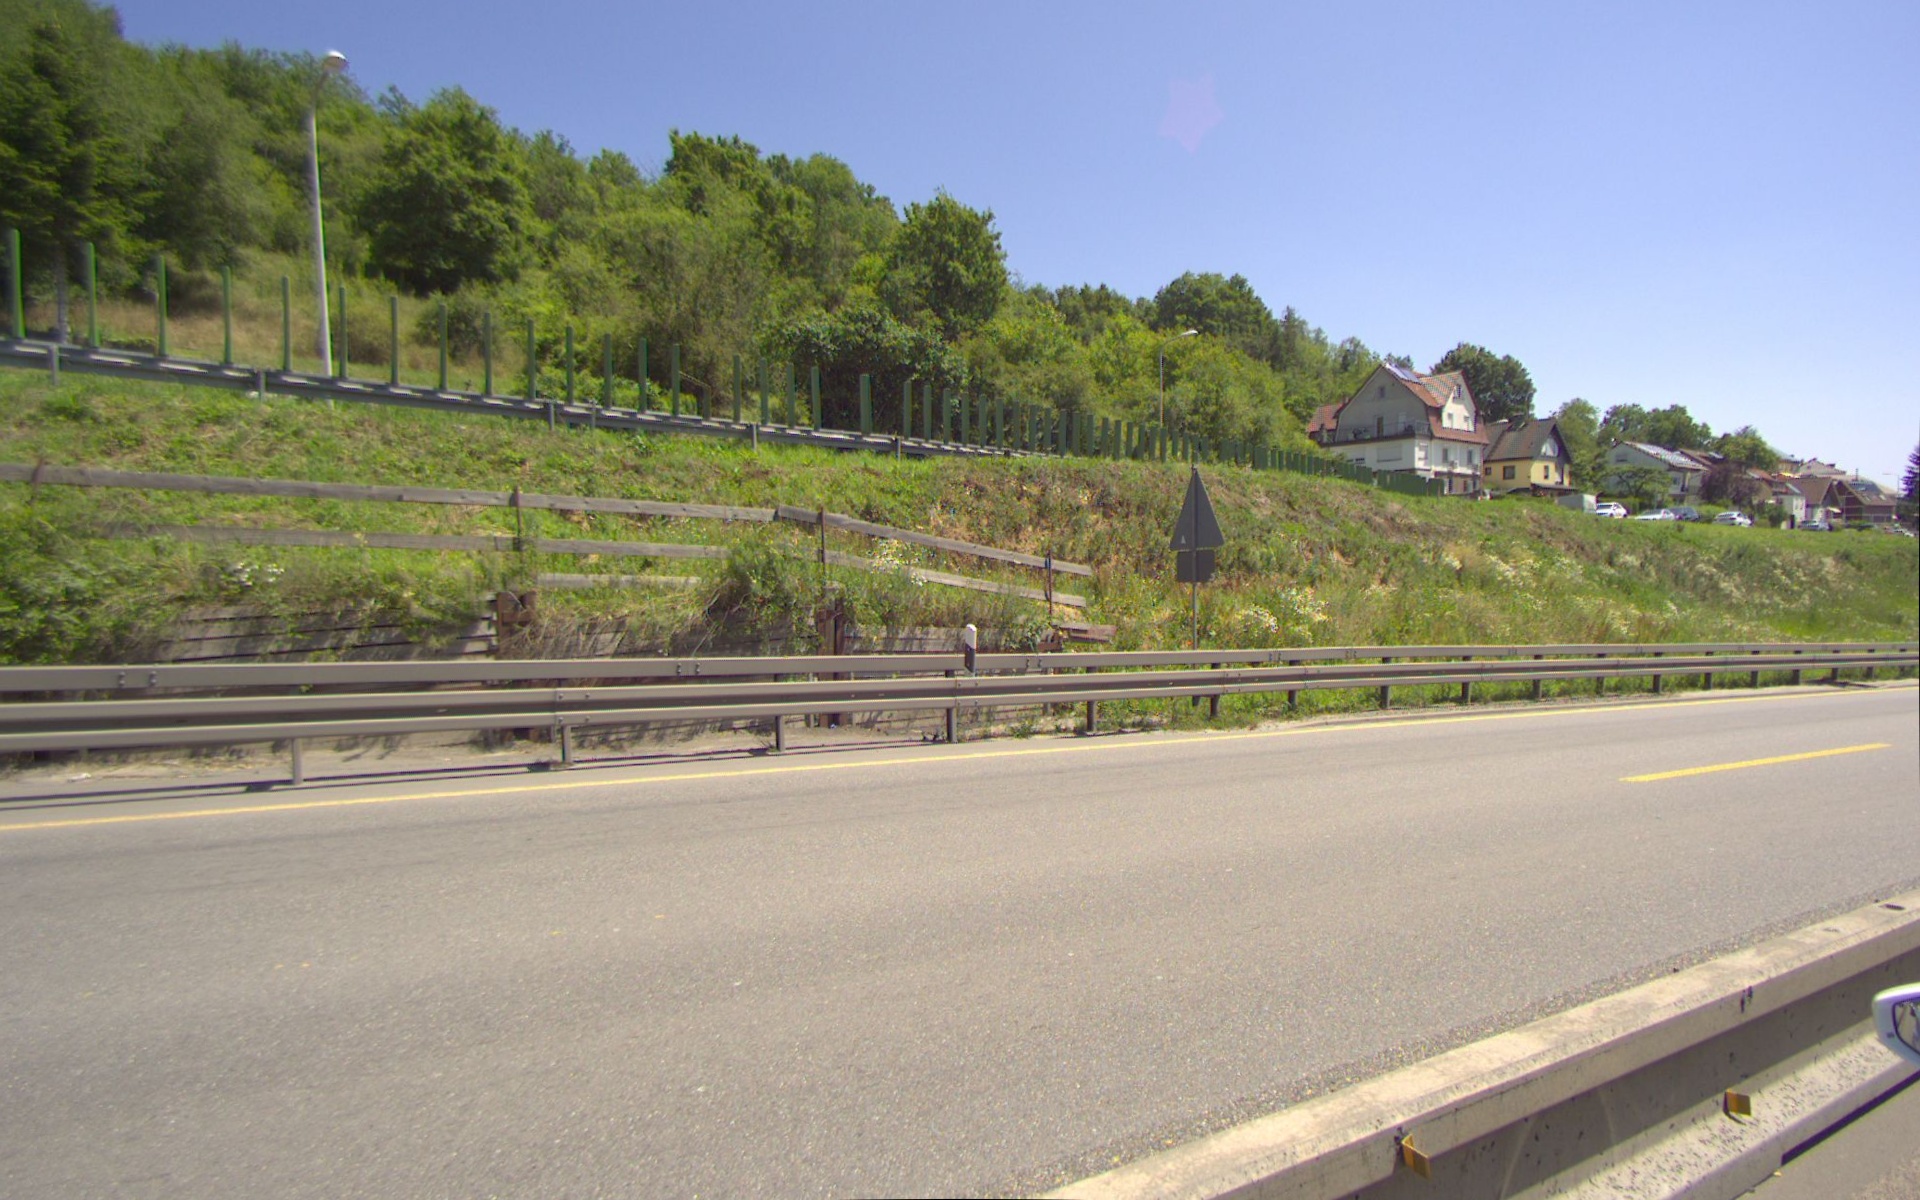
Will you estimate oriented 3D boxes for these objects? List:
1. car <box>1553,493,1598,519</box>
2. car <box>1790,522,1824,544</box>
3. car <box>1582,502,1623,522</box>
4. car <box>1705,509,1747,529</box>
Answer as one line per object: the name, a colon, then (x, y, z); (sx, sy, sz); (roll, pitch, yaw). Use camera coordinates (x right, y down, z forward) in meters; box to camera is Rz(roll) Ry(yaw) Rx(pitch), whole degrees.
car: (40.643, -6.158, 66.299); (1.709, 1.417, 3.779); (4, 2, 43)
car: (81.638, -6.433, 96.806); (3.968, 1.751, 1.908); (1, 0, -41)
car: (44.107, -6.033, 68.919); (3.244, 1.052, 1.271); (1, 0, -37)
car: (65.363, -6.901, 85.693); (3.969, 1.337, 1.975); (1, 4, -42)
